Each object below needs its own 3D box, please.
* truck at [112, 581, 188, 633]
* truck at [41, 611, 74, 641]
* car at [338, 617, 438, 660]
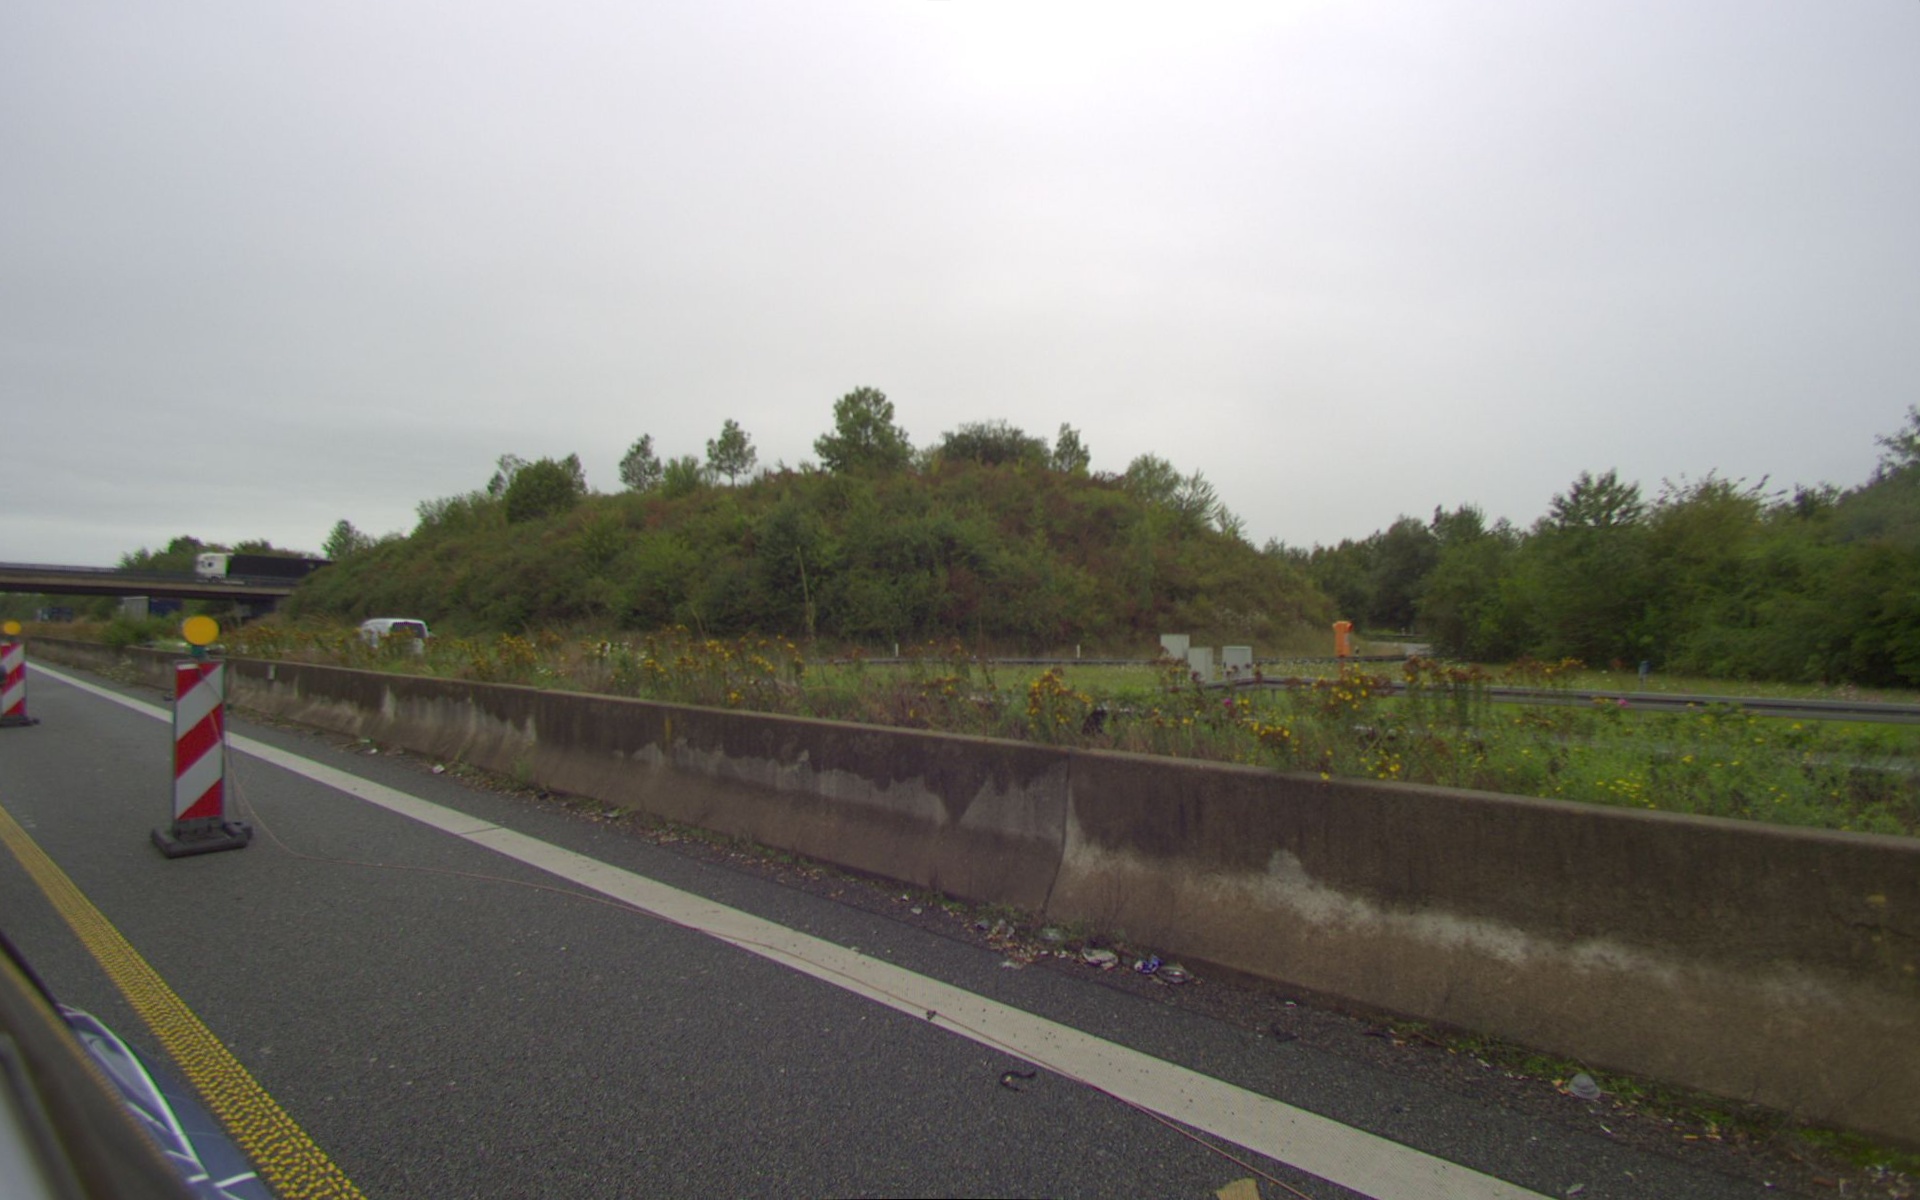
[{"bbox_3d":[-77.820,0.671,96.989,17.291,4.558,3.369,-1,-1,44],"label":"truck"},{"bbox_3d":[-133.869,3.767,150.063,12.519,4.277,2.646,-1,0,44],"label":"truck"},{"bbox_3d":[-21.865,1.456,38.617,4.744,1.555,1.849,-2,-3,41],"label":"car"}]
